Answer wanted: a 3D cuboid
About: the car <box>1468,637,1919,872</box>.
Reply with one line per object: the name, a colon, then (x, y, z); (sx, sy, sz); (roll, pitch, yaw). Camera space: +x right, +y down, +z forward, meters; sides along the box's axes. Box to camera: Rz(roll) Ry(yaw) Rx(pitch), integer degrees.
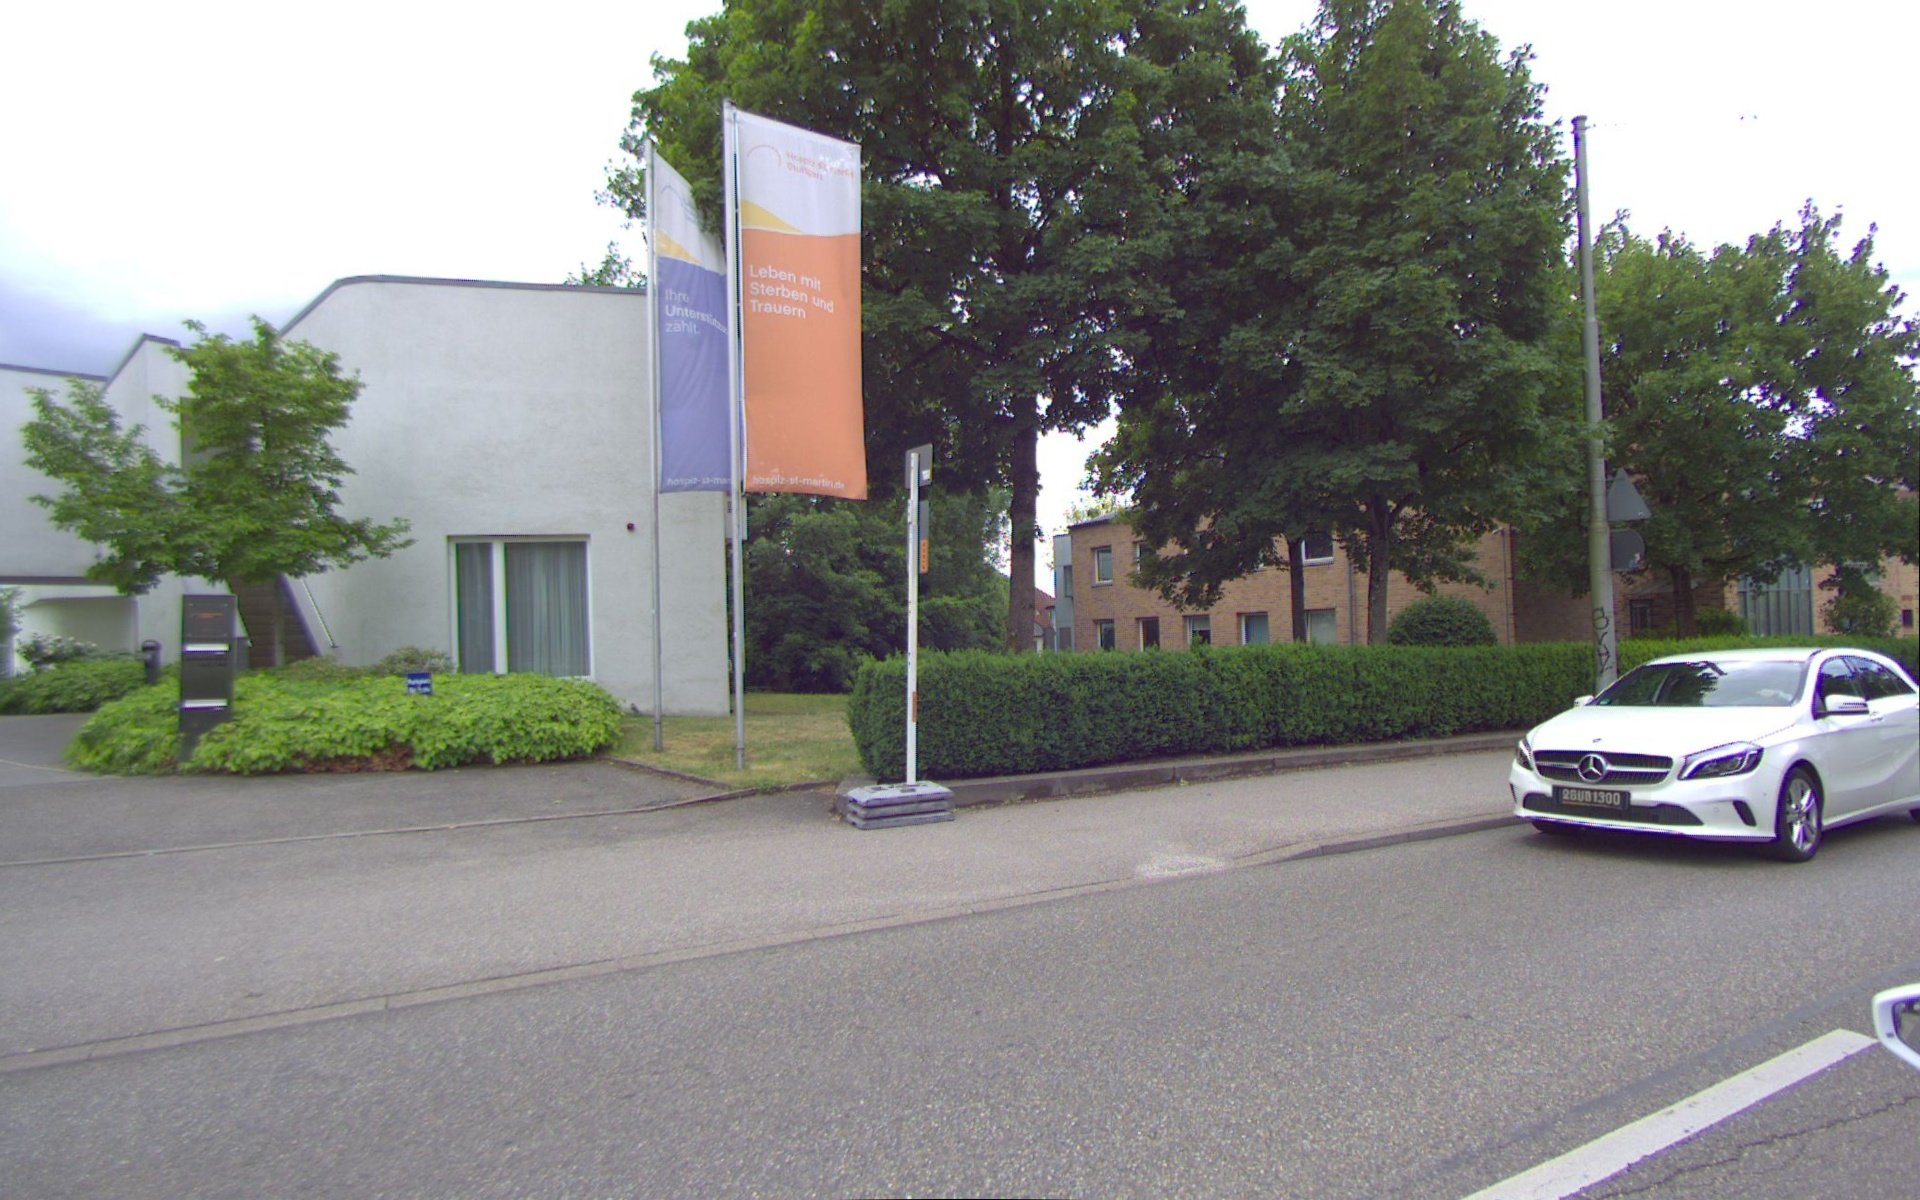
car: (6.113, 1.056, 7.999); (4.018, 1.440, 1.759); (1, -5, -30)
